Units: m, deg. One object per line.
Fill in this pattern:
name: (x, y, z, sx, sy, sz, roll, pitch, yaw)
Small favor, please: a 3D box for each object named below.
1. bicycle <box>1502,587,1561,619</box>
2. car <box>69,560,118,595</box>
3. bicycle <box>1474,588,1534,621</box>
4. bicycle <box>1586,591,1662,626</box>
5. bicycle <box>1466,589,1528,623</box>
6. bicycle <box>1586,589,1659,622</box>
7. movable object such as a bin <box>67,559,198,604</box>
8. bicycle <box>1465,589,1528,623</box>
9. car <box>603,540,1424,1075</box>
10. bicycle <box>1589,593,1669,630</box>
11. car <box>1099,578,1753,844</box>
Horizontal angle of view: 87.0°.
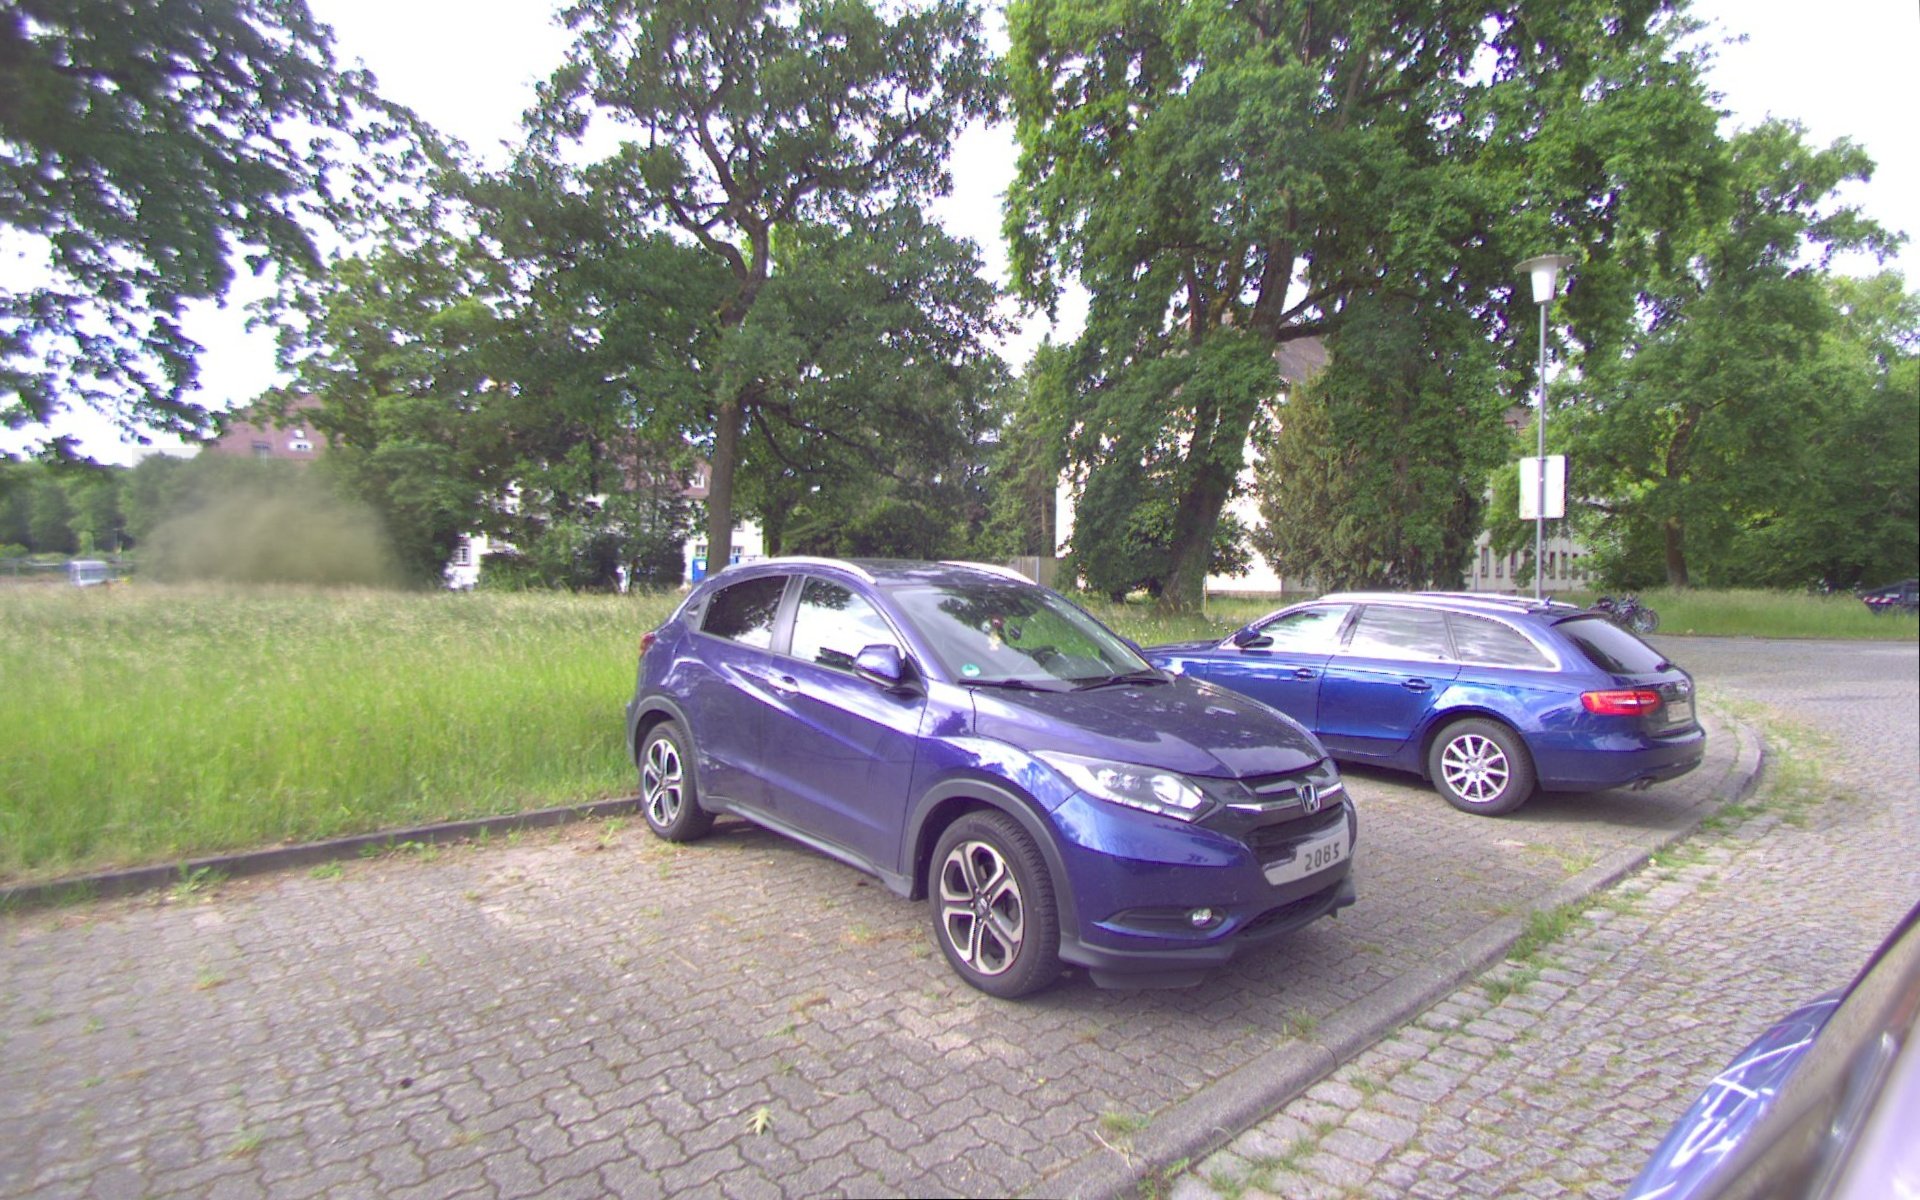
bicycle: (21.121, 0.109, 37.451, 1.838, 1.137, 0.616, 0, 1, 26)
car: (-60.254, -1.554, 70.340, 4.576, 2.377, 1.890, 0, 1, 41)
bicycle: (19.384, 0.154, 36.122, 1.838, 1.137, 0.616, 0, 1, 26)
bicycle: (21.344, 0.275, 32.556, 1.949, 1.090, 0.584, 0, 0, 21)
bicycle: (18.425, 0.182, 34.745, 1.838, 1.137, 0.616, 0, 1, 26)
bicycle: (22.481, 0.189, 34.393, 2.008, 1.090, 0.616, 0, 1, 26)
movable object such as a bin: (-50.690, -1.127, 62.176, 5.853, 2.688, 2.179, -1, 1, -24)
bicycle: (18.118, 0.193, 34.187, 1.838, 1.137, 0.616, 0, 1, 26)
car: (-0.117, 0.545, 5.149, 1.763, 1.591, 4.169, -2, 2, -42)
bicycle: (20.546, 0.339, 31.115, 1.949, 1.090, 0.584, 0, 0, 21)
car: (3.372, 0.599, 8.175, 1.752, 1.438, 4.482, 0, 3, -39)
